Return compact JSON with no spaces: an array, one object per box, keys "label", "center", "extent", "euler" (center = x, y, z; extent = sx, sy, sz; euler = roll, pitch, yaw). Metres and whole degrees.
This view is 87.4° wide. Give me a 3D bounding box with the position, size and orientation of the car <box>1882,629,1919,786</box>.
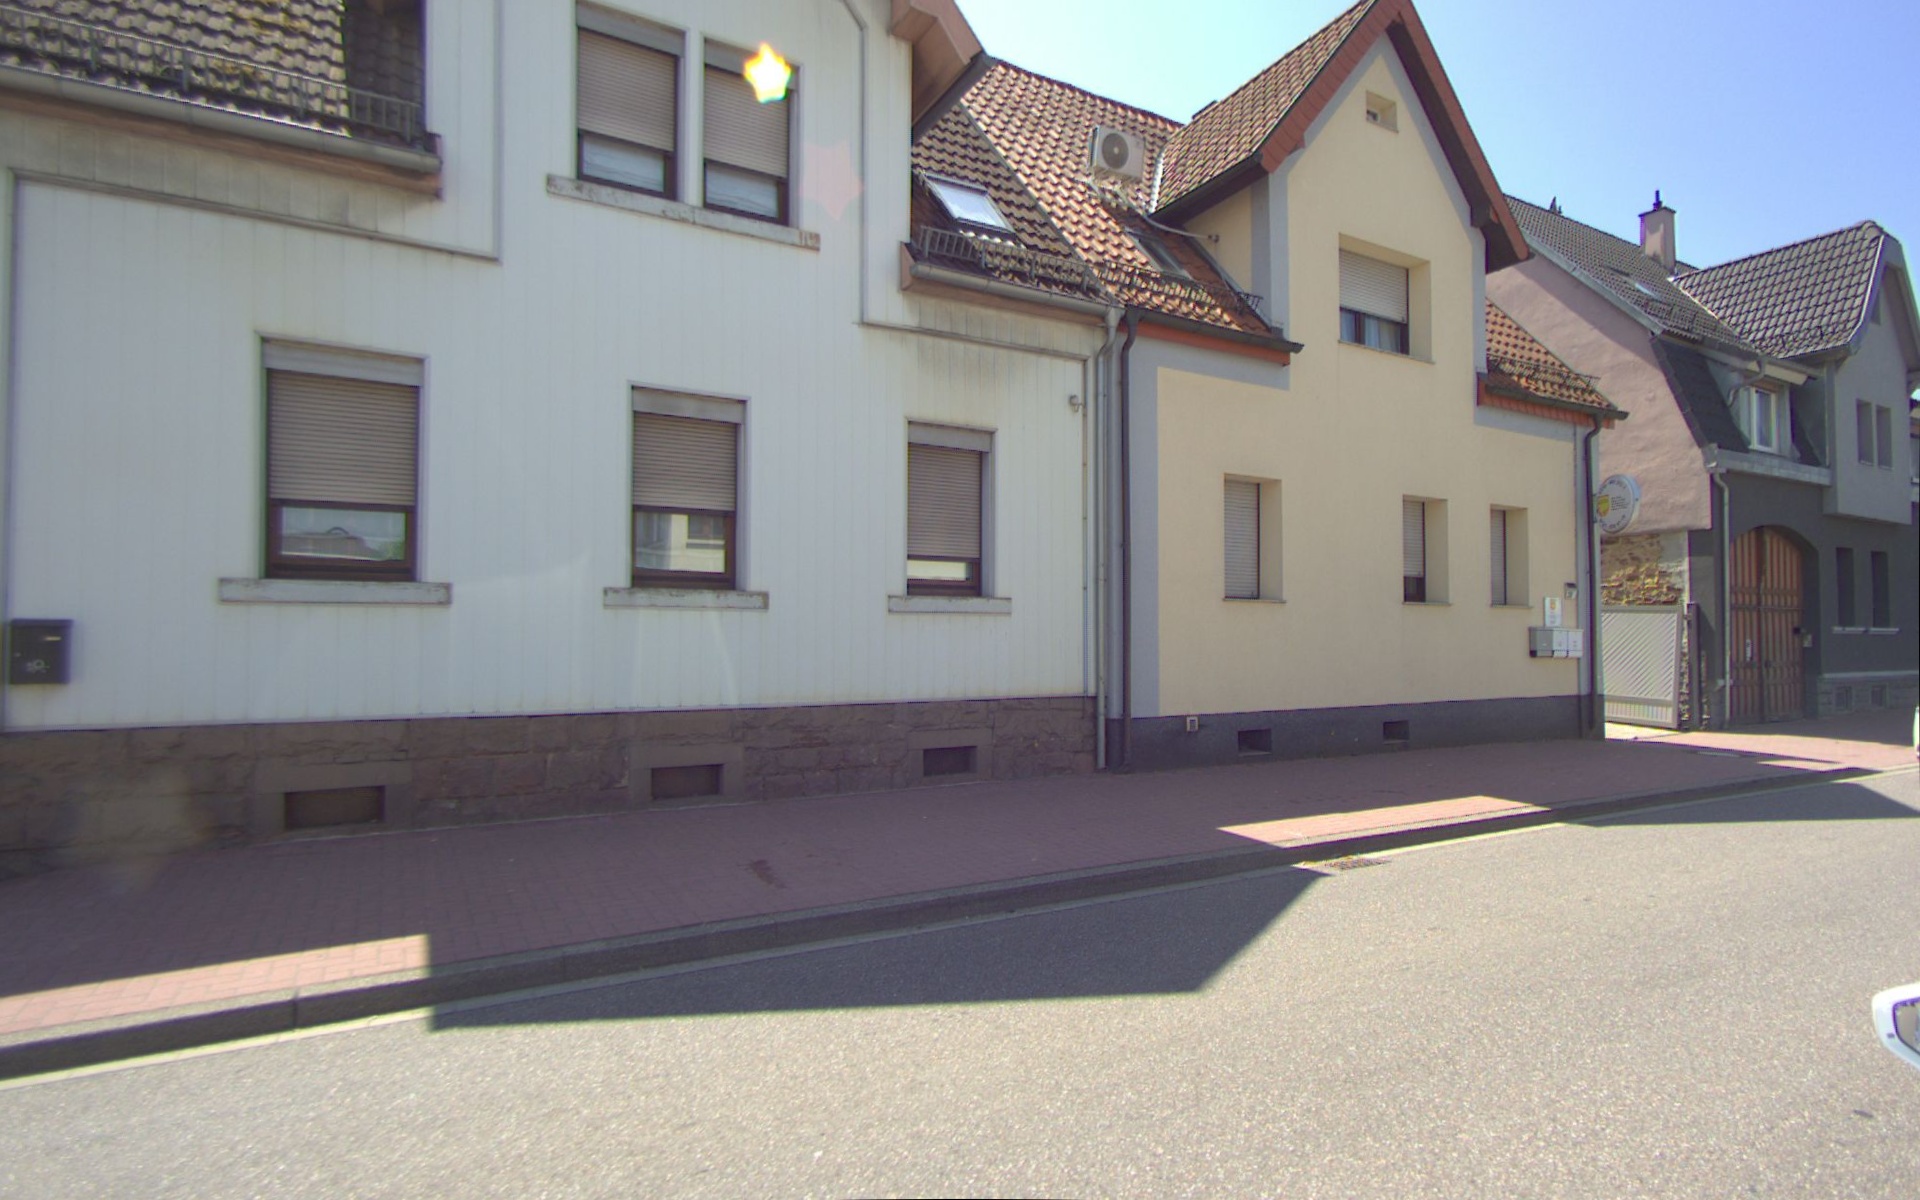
[{"label":"car","center":[12.177,1.128,11.013],"extent":[4.381,1.624,1.864],"euler":[2,-4,-32]}]
